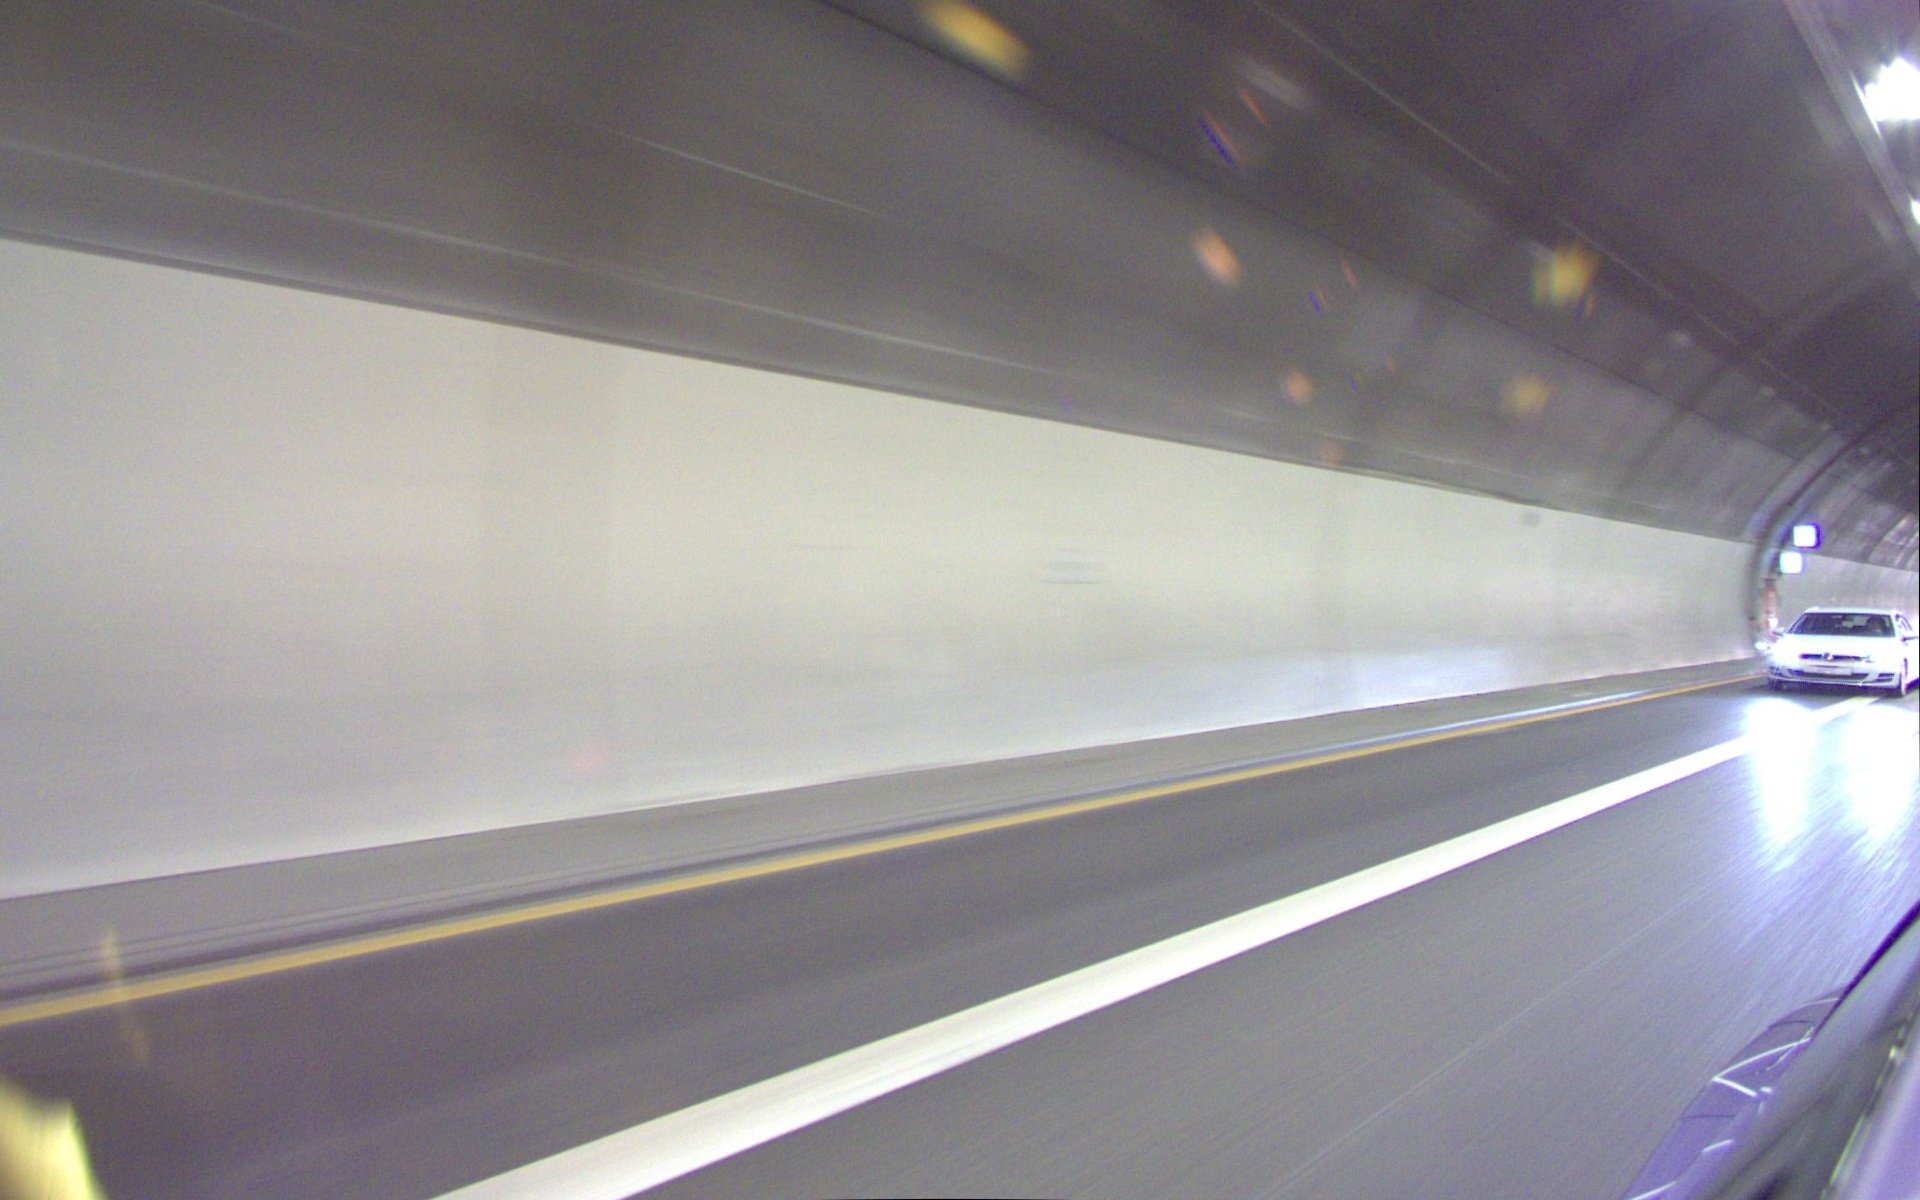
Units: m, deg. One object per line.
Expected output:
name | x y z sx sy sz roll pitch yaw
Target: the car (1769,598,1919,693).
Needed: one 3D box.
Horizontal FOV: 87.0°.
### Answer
car | 15.764 0.703 17.650 3.962 1.479 1.801 0 0 -39
